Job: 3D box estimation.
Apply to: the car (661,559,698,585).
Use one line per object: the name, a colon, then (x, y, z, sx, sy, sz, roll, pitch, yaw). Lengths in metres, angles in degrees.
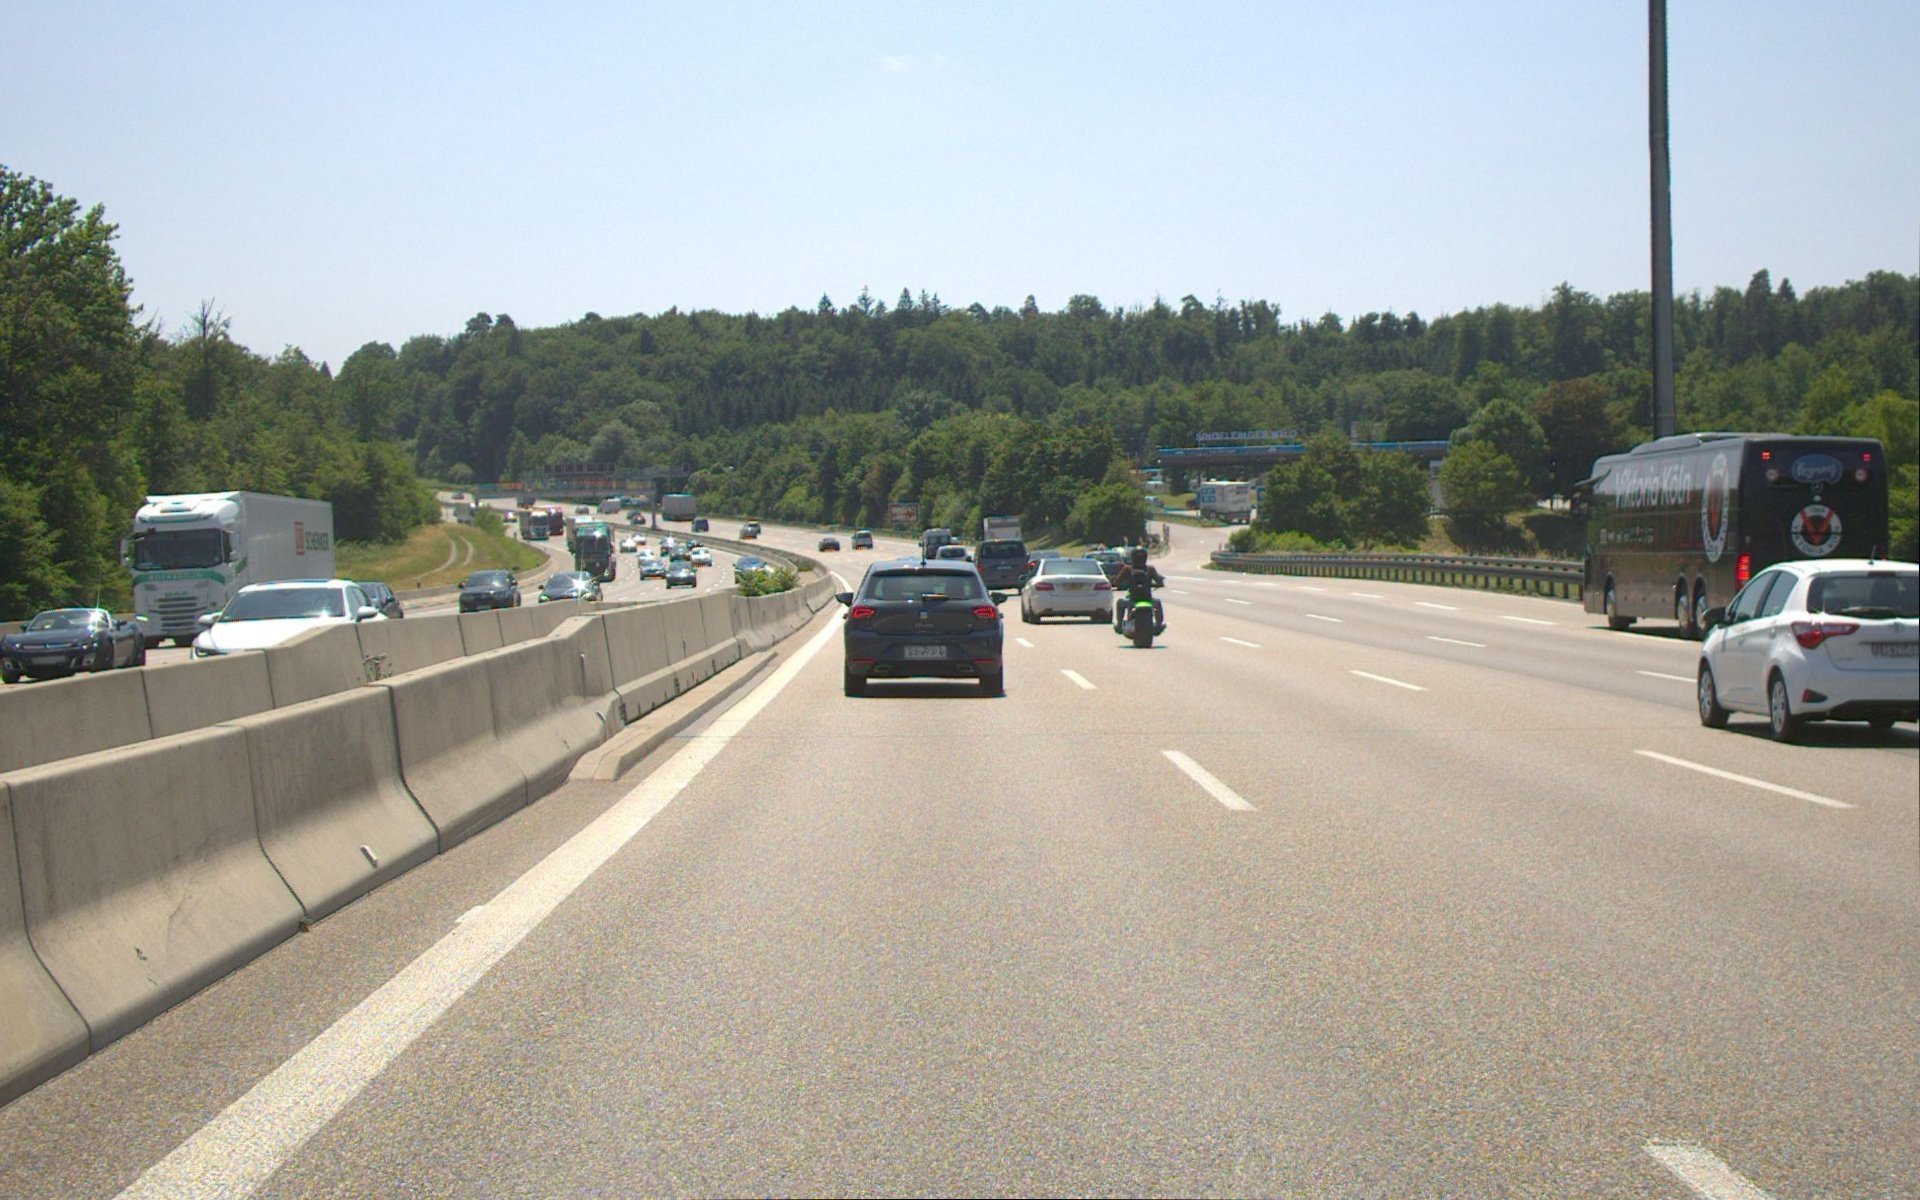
car: (-16.233, -1.630, 198.987, 1.767, 1.473, 4.481, -2, 1, -1)

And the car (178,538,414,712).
car: (-7.916, 0.238, 41.452, 1.774, 1.873, 5.210, 0, 2, 1)

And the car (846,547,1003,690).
car: (-0.384, 0.227, 37.496, 1.624, 1.482, 3.685, 0, -1, 0)

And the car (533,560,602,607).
car: (-13.026, -0.559, 114.303, 1.798, 1.476, 4.721, -1, 1, -1)

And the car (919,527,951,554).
car: (-1.893, -4.486, 259.230, 1.993, 2.006, 4.675, 0, 2, -5)

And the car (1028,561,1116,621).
car: (2.470, -0.224, 76.434, 1.782, 1.261, 3.460, -1, 1, -1)

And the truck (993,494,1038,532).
truck: (4.052, -6.360, 250.921, 2.726, 2.776, 5.684, 0, 2, -5)

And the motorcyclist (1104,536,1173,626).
motorcyclist: (2.901, -0.320, 55.999, 0.962, 1.432, 1.235, 0, 1, -5)

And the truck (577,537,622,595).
truck: (-25.759, -2.450, 245.657, 2.657, 4.012, 5.511, -3, 1, -2)

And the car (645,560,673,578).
car: (-21.631, -2.236, 246.903, 1.831, 1.297, 4.730, -1, 1, -3)

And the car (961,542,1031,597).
car: (1.250, -1.082, 120.702, 2.097, 1.845, 4.082, -1, 1, -4)

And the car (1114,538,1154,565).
car: (8.333, -2.323, 164.935, 1.608, 1.208, 3.460, -2, 1, -2)

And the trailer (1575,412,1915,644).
trailer: (13.881, -1.229, 62.275, 2.857, 3.675, 13.543, -2, 1, -1)

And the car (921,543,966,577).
car: (-0.859, -2.092, 178.126, 1.993, 1.678, 4.425, 0, 2, -5)

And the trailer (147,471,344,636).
trailer: (-20.142, -1.348, 97.863, 2.642, 4.210, 14.363, -3, 1, -1)

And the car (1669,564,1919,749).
car: (7.355, 0.425, 29.148, 1.666, 1.428, 4.376, 1, 1, -1)

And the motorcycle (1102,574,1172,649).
motorcycle: (2.871, 0.172, 56.016, 0.977, 1.125, 2.271, -2, 1, -1)

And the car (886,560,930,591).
car: (-2.096, -0.993, 138.003, 1.536, 1.208, 3.460, -2, 1, -4)

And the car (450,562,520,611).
car: (-16.953, -0.484, 122.841, 1.798, 1.637, 5.079, -3, 0, -1)

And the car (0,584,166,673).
car: (-15.001, 0.453, 58.927, 1.798, 1.371, 4.532, -1, 1, -1)

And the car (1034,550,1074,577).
car: (4.278, -1.667, 156.871, 1.608, 1.208, 3.460, -2, 1, -2)

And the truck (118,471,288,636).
truck: (-20.081, -1.249, 91.679, 2.715, 4.085, 7.877, -3, 1, -1)
